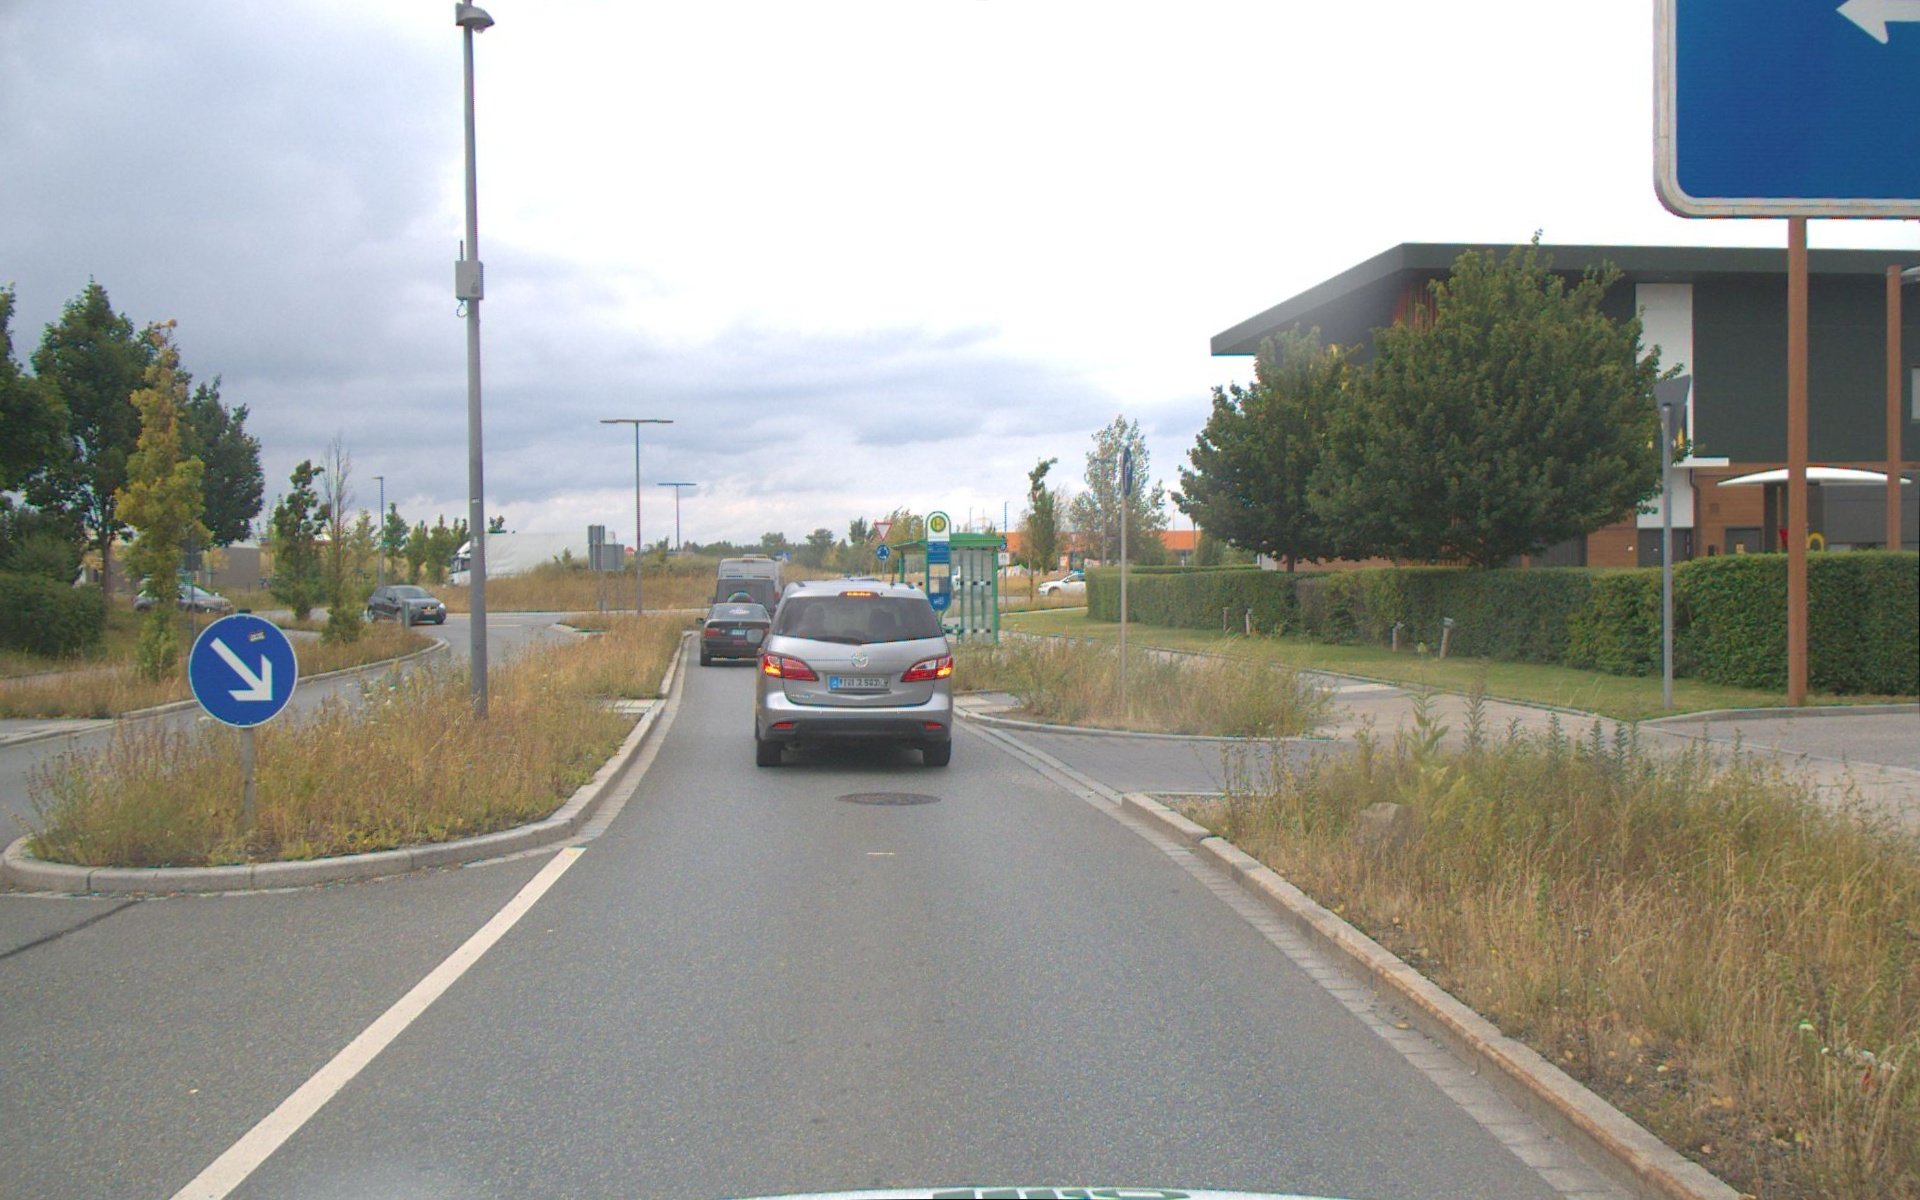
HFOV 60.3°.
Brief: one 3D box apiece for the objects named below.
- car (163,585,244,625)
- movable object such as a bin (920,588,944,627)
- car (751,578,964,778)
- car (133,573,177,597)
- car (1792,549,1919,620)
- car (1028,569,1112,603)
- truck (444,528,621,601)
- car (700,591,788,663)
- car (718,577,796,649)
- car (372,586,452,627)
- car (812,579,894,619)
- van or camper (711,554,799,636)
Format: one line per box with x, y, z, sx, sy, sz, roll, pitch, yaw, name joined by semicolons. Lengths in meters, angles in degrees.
-32.245;0.198;70.476;2.047;1.620;4.141;-3;2;-41;car
-0.606;0.159;35.648;0.447;0.812;0.379;0;0;-10;movable object such as a bin
-1.068;0.615;15.459;1.697;1.628;3.800;0;1;-8;car
-63.356;-1.181;130.301;1.956;1.892;3.993;0;1;-8;car
23.533;-0.392;41.956;3.913;1.747;1.996;0;0;-9;car
5.931;-0.781;89.572;4.507;1.788;2.000;0;0;1;car
-23.949;-1.992;92.719;9.184;3.975;3.119;-1;0;-25;truck
-4.830;0.552;36.852;1.810;1.443;4.217;-1;1;-8;car
-5.562;0.328;45.643;2.019;1.857;4.779;0;0;-6;car
-20.942;0.258;63.107;1.826;1.431;3.951;-3;1;-35;car
-4.259;-0.042;66.652;1.952;1.542;4.002;-1;0;18;car
-6.653;-0.189;54.297;2.255;2.549;5.205;0;1;0;van or camper
